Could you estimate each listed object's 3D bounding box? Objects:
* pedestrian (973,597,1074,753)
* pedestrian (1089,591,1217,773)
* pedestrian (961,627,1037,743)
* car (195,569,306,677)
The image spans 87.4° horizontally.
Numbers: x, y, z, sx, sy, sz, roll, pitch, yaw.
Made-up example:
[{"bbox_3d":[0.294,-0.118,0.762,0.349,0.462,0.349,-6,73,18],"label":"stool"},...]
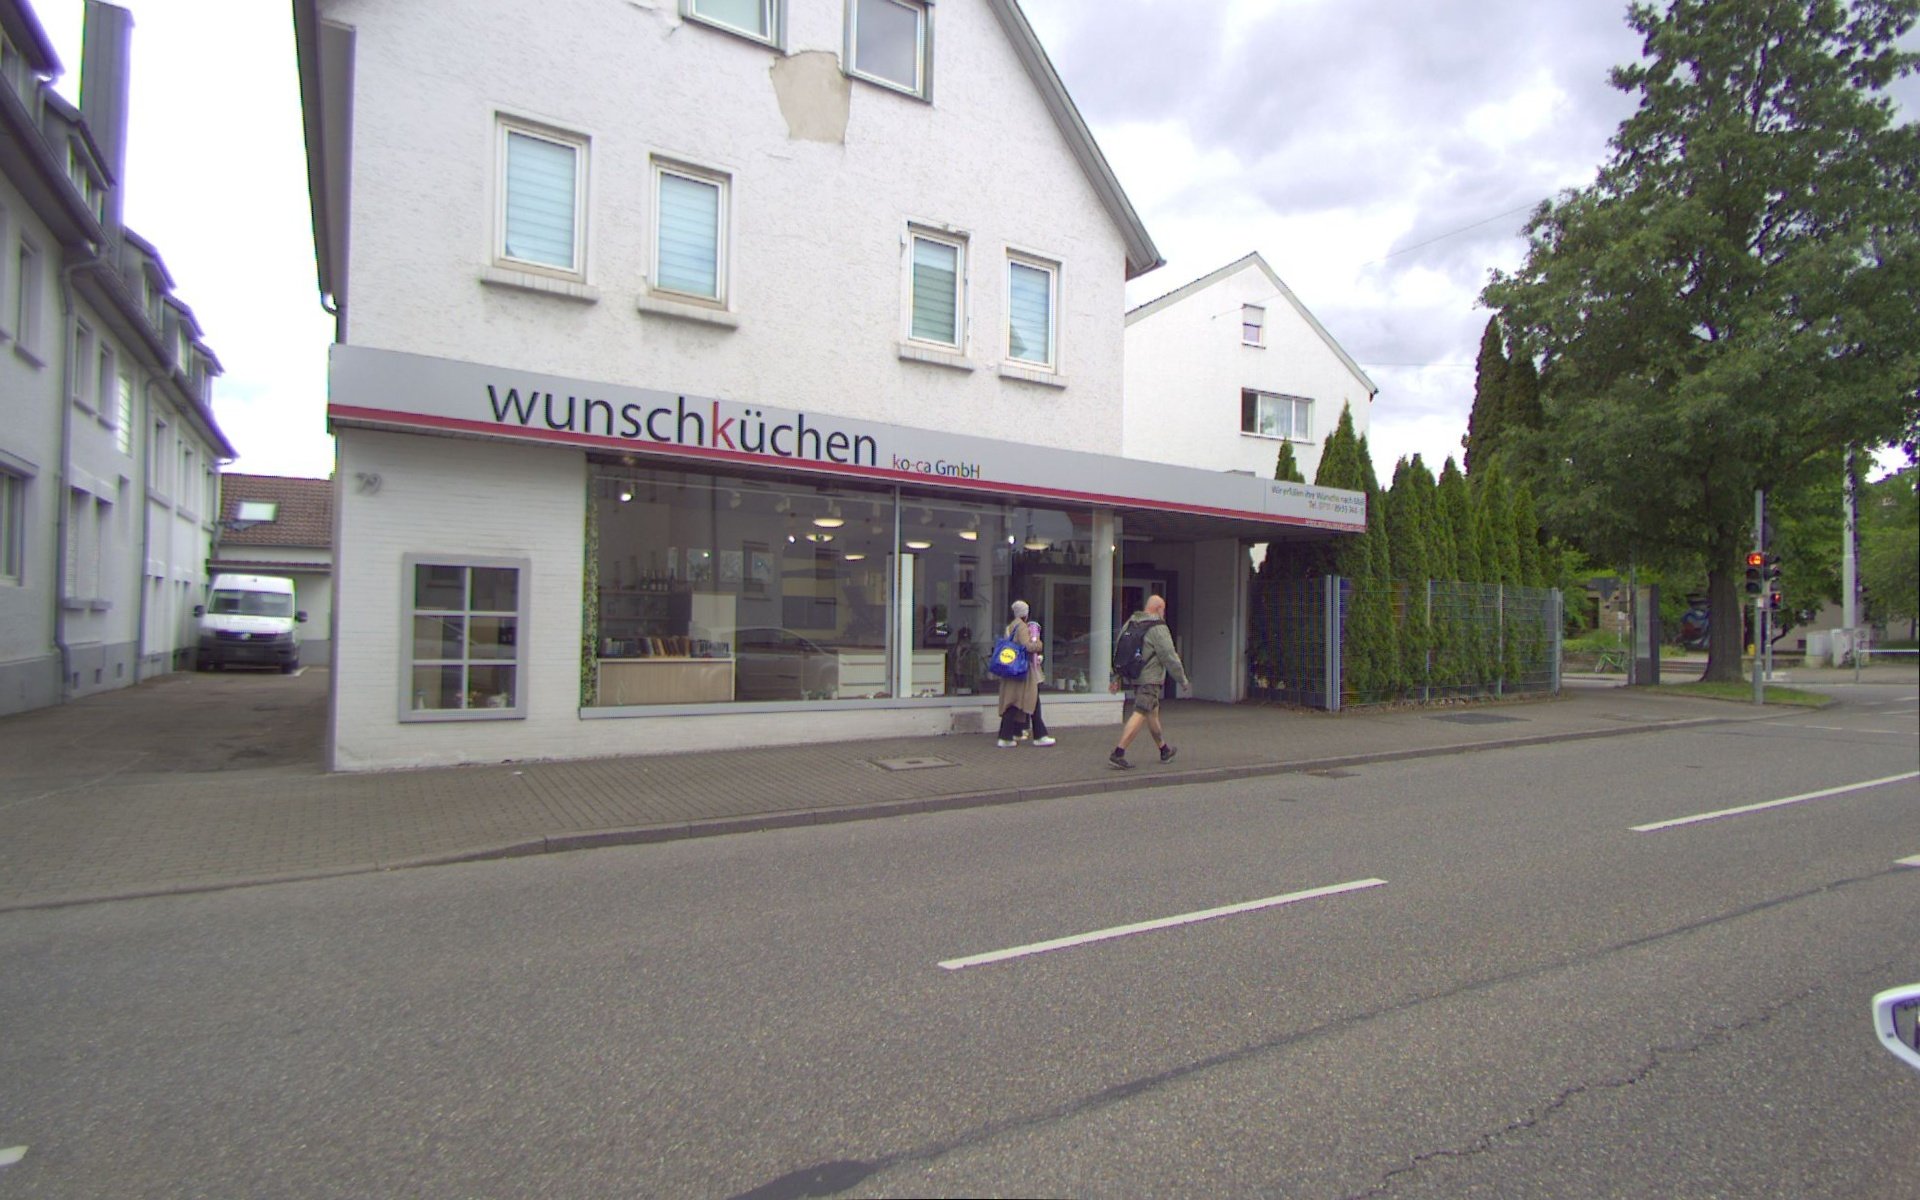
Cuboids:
[{"bbox_3d":[0.707,0.807,11.253,0.784,1.638,0.747,1,2,-31],"label":"pedestrian"},{"bbox_3d":[1.995,0.813,10.396,1.008,1.767,0.747,1,1,-31],"label":"pedestrian"},{"bbox_3d":[0.459,0.982,11.892,0.647,1.297,0.596,1,1,-31],"label":"pedestrian"},{"bbox_3d":[-19.074,0.585,27.248,1.938,2.541,5.943,4,-2,-32],"label":"car"}]
